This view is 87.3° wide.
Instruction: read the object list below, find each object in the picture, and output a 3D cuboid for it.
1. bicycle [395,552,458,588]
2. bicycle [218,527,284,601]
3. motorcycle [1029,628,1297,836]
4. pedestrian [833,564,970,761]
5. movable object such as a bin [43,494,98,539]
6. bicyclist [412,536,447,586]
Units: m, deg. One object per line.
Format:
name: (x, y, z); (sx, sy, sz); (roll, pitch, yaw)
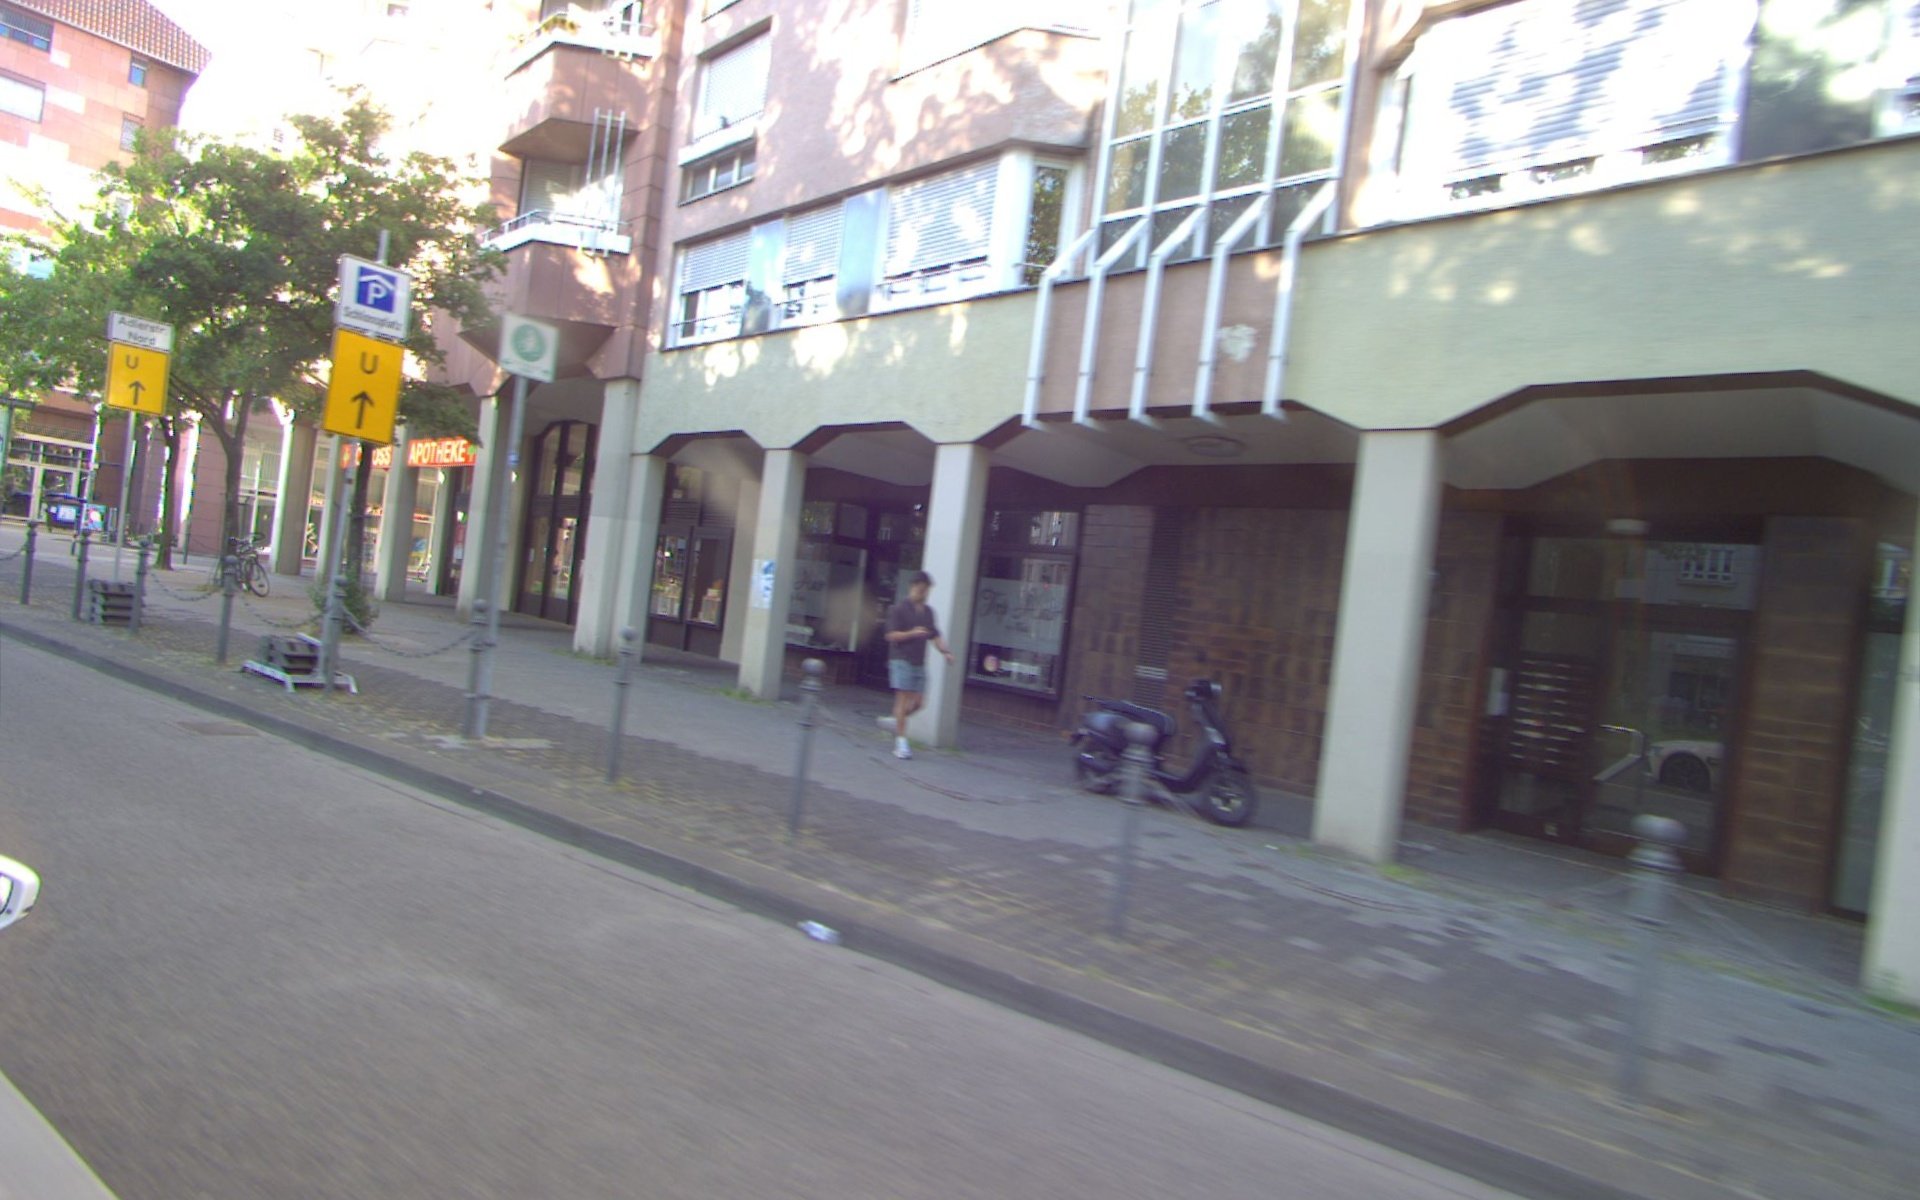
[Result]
bicycle: (-20.688, -1.140, 39.039); (0.792, 1.126, 1.913); (7, -1, 40)
bicycle: (-13.477, -0.700, 19.108); (0.620, 1.240, 1.902); (7, 0, -45)
motorcycle: (1.690, 1.064, 8.606); (2.056, 1.389, 0.489); (7, 0, 33)
pedestrian: (-0.569, 0.600, 9.770); (0.825, 1.759, 0.780); (7, 0, 41)
movable object such as a bin: (-34.232, -3.198, 38.720); (0.860, 1.500, 1.407); (7, 0, 44)
bicyclist: (-20.604, -1.504, 39.078); (0.777, 1.792, 0.824); (7, 0, 41)
